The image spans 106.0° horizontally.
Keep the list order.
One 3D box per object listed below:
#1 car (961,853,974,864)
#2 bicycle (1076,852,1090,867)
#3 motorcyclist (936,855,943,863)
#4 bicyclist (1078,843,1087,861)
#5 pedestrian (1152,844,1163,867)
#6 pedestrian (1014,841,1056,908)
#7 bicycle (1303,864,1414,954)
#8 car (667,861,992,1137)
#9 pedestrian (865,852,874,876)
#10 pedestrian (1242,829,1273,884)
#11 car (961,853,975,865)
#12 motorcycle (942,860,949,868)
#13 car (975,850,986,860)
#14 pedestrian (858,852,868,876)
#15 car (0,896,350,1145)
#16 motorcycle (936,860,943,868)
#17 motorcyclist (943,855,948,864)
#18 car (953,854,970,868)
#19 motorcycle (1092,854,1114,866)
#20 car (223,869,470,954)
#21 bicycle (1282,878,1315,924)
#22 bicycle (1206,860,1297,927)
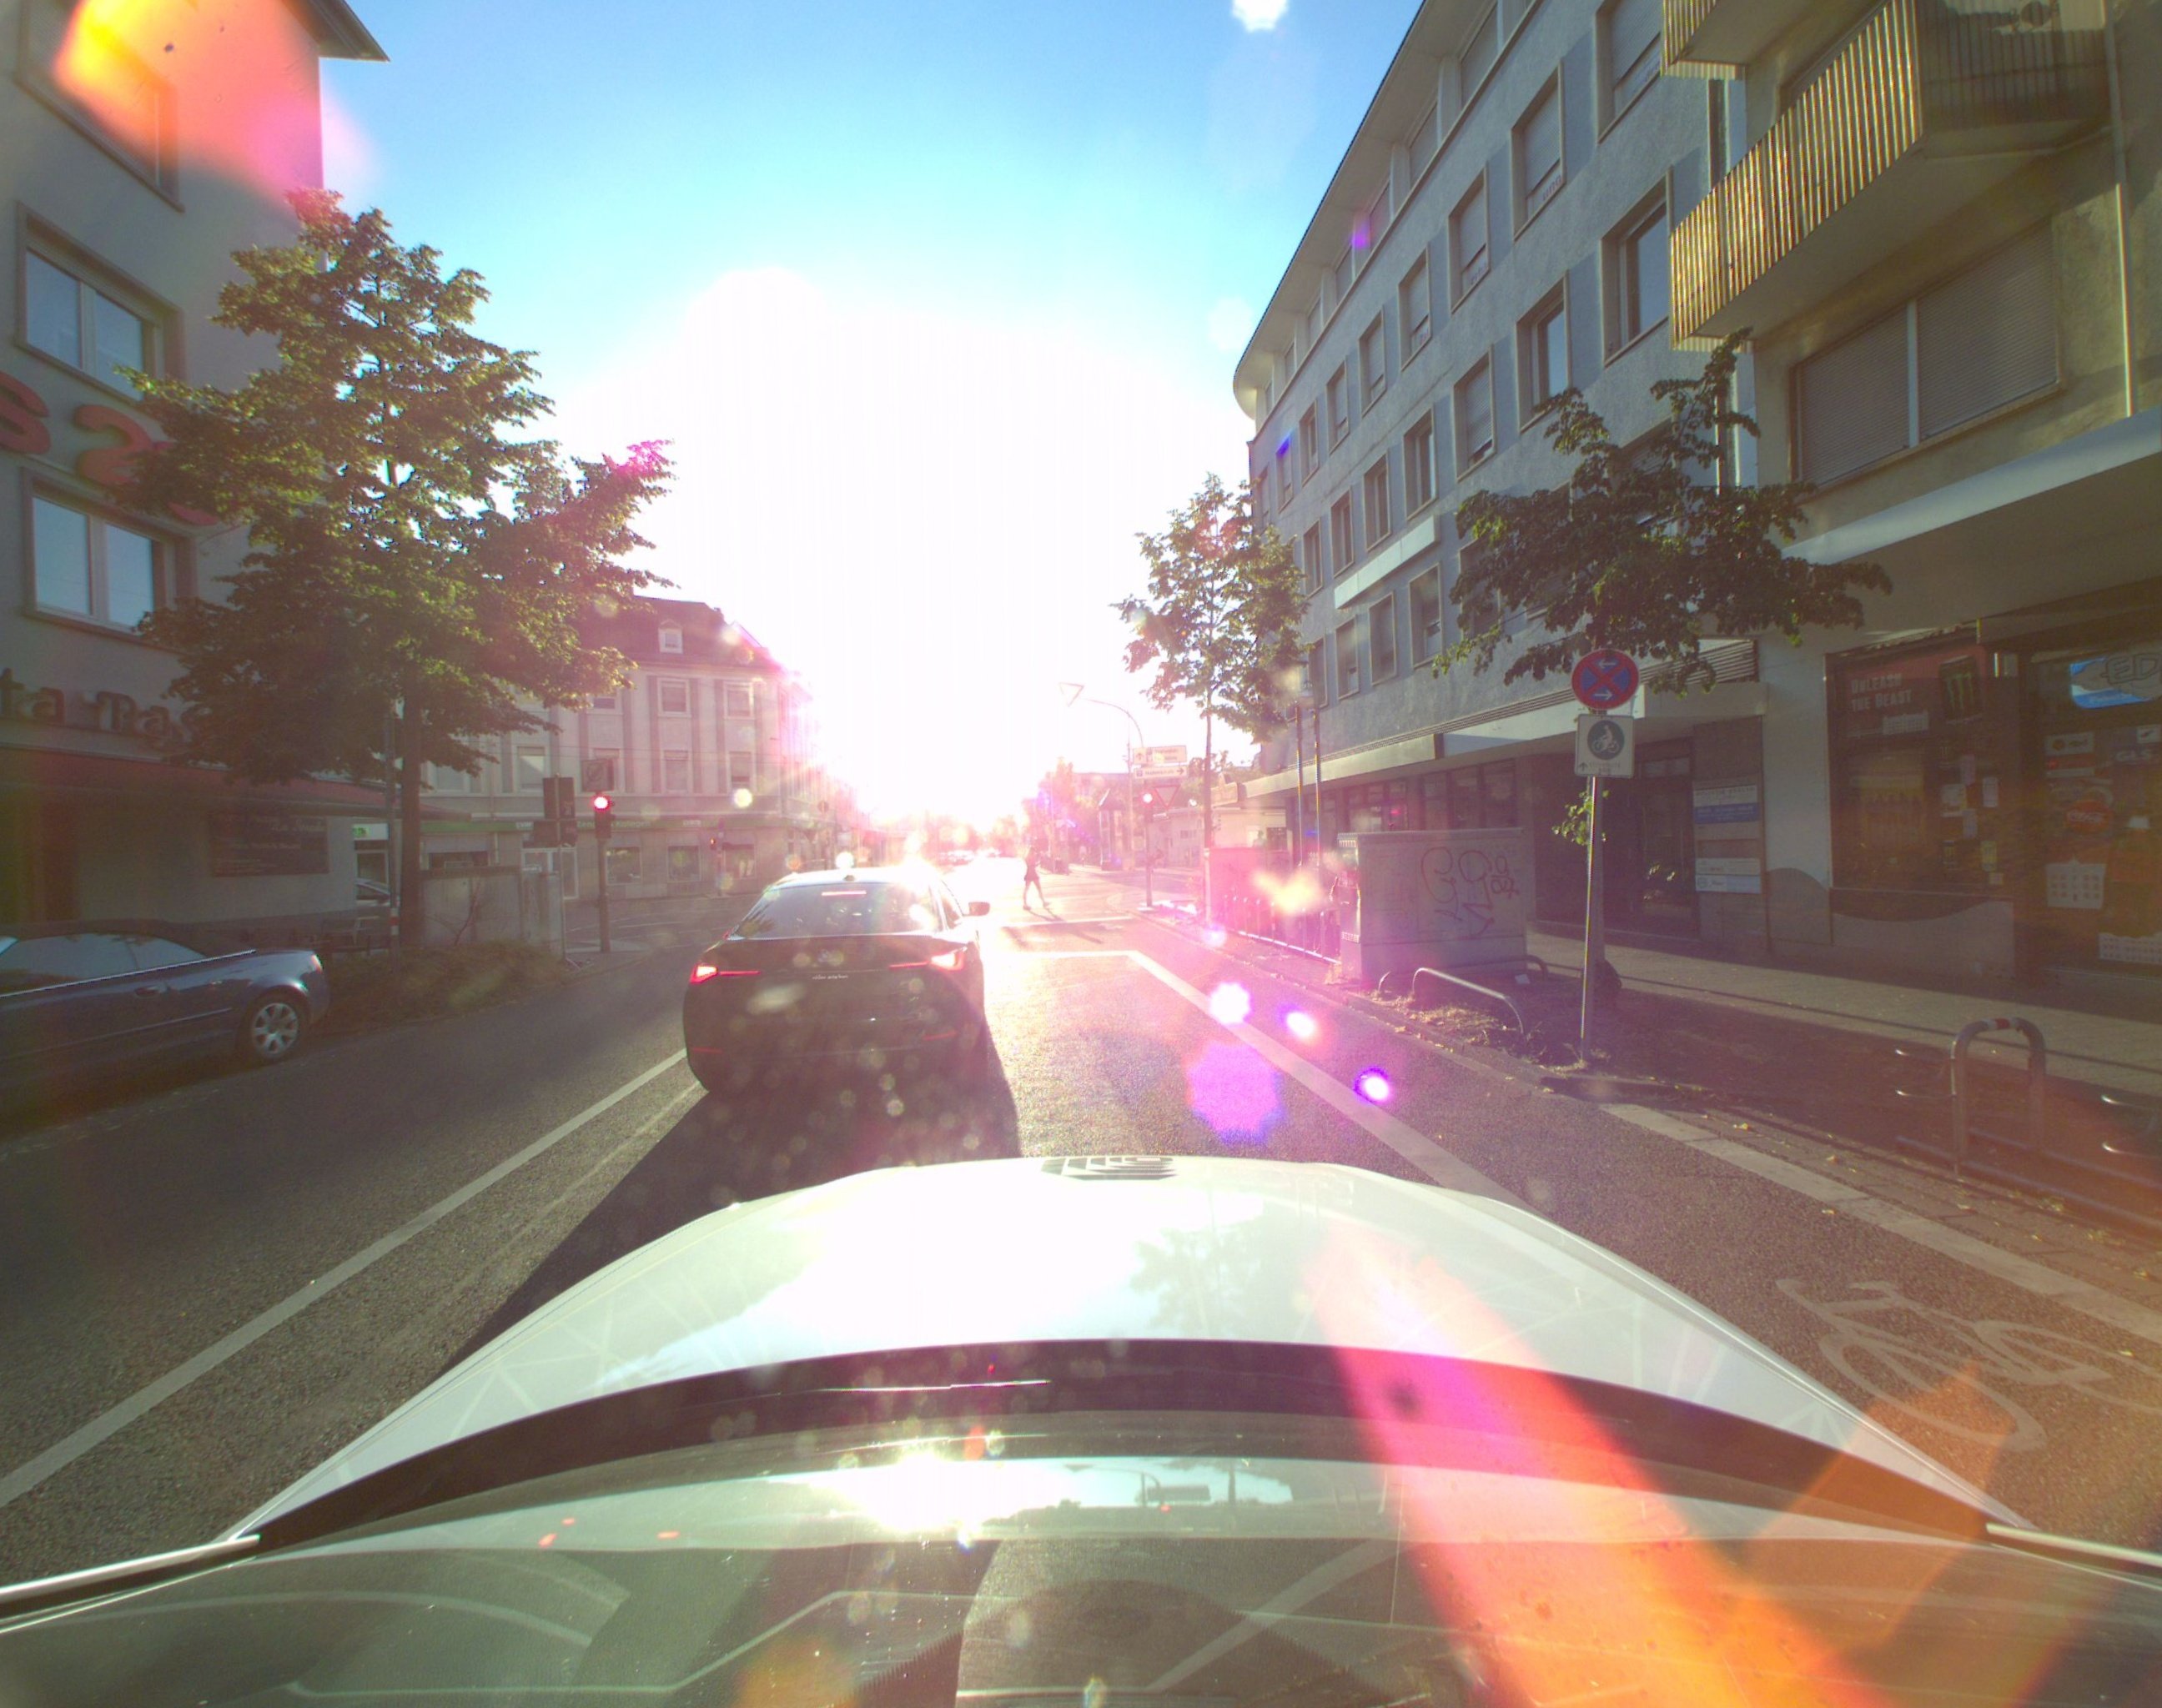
[{"bbox_3d":[-17.395,0.661,124.627,1.816,1.519,3.992,-2,0,-6],"label":"car"},{"bbox_3d":[0.161,0.435,65.755,0.551,1.159,2.133,-1,-1,-14],"label":"bicycle"},{"bbox_3d":[-16.459,0.630,94.753,0.574,0.915,2.196,0,0,-6],"label":"motorcyclist"},{"bbox_3d":[0.136,-0.174,65.818,0.551,1.481,0.719,-1,-1,-15],"label":"bicyclist"},{"bbox_3d":[5.091,0.096,54.065,0.729,1.529,0.473,0,0,4],"label":"pedestrian"},{"bbox_3d":[-1.299,0.561,23.020,1.006,1.860,0.634,-1,0,-27],"label":"pedestrian"},{"bbox_3d":[3.887,0.758,11.416,1.438,1.220,0.383,0,0,-5],"label":"bicycle"},{"bbox_3d":[-1.642,0.806,6.648,1.735,1.428,4.213,-1,0,-7],"label":"car"},{"bbox_3d":[-16.711,0.778,64.378,0.616,1.876,0.676,0,0,-10],"label":"pedestrian"},{"bbox_3d":[6.087,0.066,28.121,0.834,1.841,0.677,-2,0,-6],"label":"pedestrian"},{"bbox_3d":[-15.714,0.663,113.514,1.816,1.519,3.992,-2,0,-6],"label":"car"},{"bbox_3d":[-15.694,1.156,94.314,0.574,0.915,2.196,0,0,-6],"label":"motorcycle"},{"bbox_3d":[-19.418,0.184,158.044,1.768,1.848,3.995,-2,0,-4],"label":"car"},{"bbox_3d":[-16.823,0.779,62.944,0.642,1.876,0.630,0,0,-7],"label":"pedestrian"},{"bbox_3d":[-7.637,1.157,5.543,1.721,1.415,4.270,-4,0,-7],"label":"car"},{"bbox_3d":[-16.453,1.162,94.730,0.574,0.915,2.196,0,0,-6],"label":"motorcycle"},{"bbox_3d":[-15.691,0.624,94.215,0.574,0.995,0.701,0,0,-6],"label":"motorcyclist"},{"bbox_3d":[-13.955,0.750,95.153,1.816,1.519,3.992,-2,0,-6],"label":"car"},{"bbox_3d":[1.816,0.519,68.025,1.673,0.939,0.851,-2,0,-18],"label":"motorcycle"},{"bbox_3d":[-18.148,1.343,20.442,4.307,1.707,1.787,-2,1,-32],"label":"car"},{"bbox_3d":[4.104,0.879,15.394,0.249,0.796,1.114,0,0,-4],"label":"bicycle"},{"bbox_3d":[3.181,0.725,15.209,1.610,1.171,0.318,-2,0,-5],"label":"bicycle"}]
